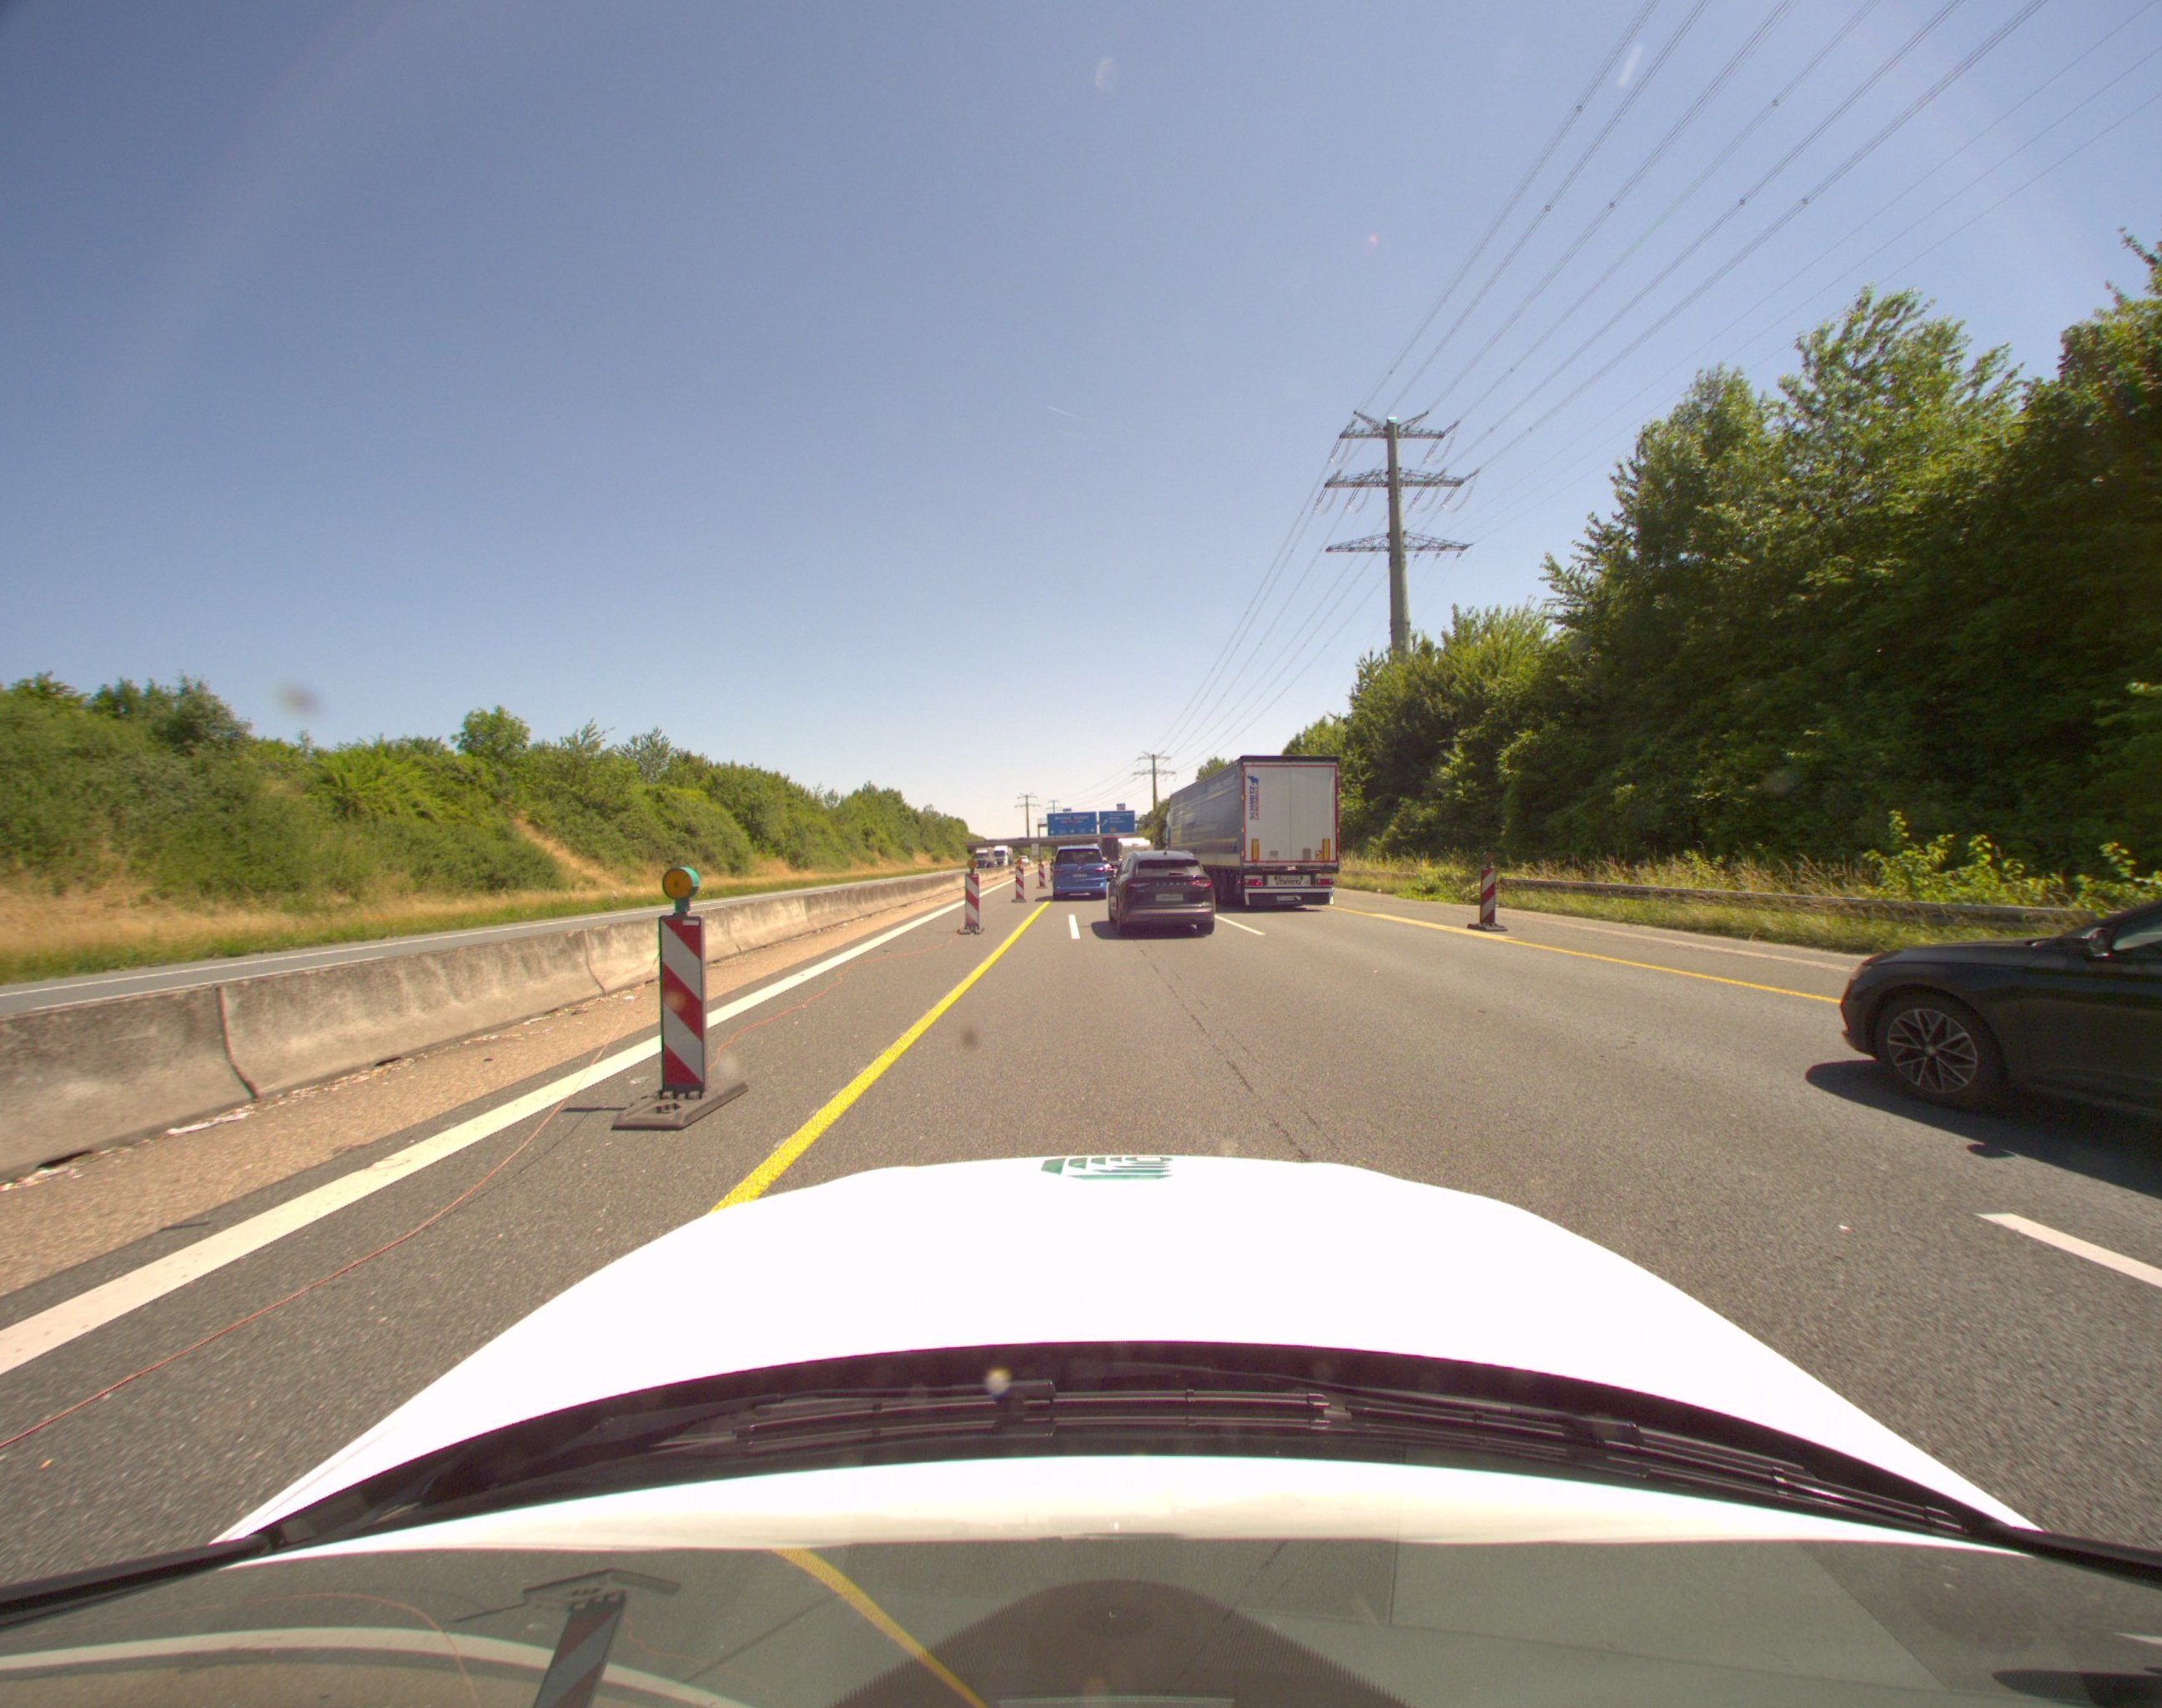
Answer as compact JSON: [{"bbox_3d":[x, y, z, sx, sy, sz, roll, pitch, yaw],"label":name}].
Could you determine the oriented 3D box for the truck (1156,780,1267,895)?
[{"bbox_3d":[5.081,-0.603,33.296,3.017,4.087,7.789,-1,0,-2],"label":"truck"}]

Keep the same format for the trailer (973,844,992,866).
[{"bbox_3d":[-20.171,0.170,167.898,2.473,4.180,12.080,-2,0,-1],"label":"trailer"}]

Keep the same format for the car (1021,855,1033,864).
[{"bbox_3d":[-10.957,1.159,165.432,1.860,1.792,5.454,-2,0,0],"label":"car"}]

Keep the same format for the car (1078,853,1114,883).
[{"bbox_3d":[0.851,0.796,48.462,1.890,1.509,4.440,1,2,-1],"label":"car"}]

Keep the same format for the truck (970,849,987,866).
[{"bbox_3d":[-20.049,0.669,160.097,2.457,3.288,6.921,-2,0,-1],"label":"truck"}]

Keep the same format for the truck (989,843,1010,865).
[{"bbox_3d":[-16.155,-0.014,161.805,3.153,4.224,7.415,-2,0,0],"label":"truck"}]

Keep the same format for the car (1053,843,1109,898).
[{"bbox_3d":[-0.061,0.605,29.779,1.890,1.841,4.439,0,-1,-2],"label":"car"}]

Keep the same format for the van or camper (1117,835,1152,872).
[{"bbox_3d":[4.405,-0.060,68.085,2.578,2.968,6.084,0,0,0],"label":"van or camper"}]

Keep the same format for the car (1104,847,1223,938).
[{"bbox_3d":[1.545,0.682,16.829,1.890,1.592,4.440,-1,0,-2],"label":"car"}]

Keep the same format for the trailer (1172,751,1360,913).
[{"bbox_3d":[5.317,-0.562,26.343,3.057,4.042,11.478,-1,0,-2],"label":"trailer"}]

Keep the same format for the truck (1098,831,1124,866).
[{"bbox_3d":[3.729,-0.621,104.317,3.067,4.146,13.054,0,0,1],"label":"truck"}]

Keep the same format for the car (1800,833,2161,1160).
[{"bbox_3d":[5.816,0.642,3.334,1.774,1.489,4.462,0,0,-1],"label":"car"}]

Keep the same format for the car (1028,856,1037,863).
[{"bbox_3d":[-11.693,1.314,195.536,1.756,1.471,4.635,-3,0,1],"label":"car"}]
